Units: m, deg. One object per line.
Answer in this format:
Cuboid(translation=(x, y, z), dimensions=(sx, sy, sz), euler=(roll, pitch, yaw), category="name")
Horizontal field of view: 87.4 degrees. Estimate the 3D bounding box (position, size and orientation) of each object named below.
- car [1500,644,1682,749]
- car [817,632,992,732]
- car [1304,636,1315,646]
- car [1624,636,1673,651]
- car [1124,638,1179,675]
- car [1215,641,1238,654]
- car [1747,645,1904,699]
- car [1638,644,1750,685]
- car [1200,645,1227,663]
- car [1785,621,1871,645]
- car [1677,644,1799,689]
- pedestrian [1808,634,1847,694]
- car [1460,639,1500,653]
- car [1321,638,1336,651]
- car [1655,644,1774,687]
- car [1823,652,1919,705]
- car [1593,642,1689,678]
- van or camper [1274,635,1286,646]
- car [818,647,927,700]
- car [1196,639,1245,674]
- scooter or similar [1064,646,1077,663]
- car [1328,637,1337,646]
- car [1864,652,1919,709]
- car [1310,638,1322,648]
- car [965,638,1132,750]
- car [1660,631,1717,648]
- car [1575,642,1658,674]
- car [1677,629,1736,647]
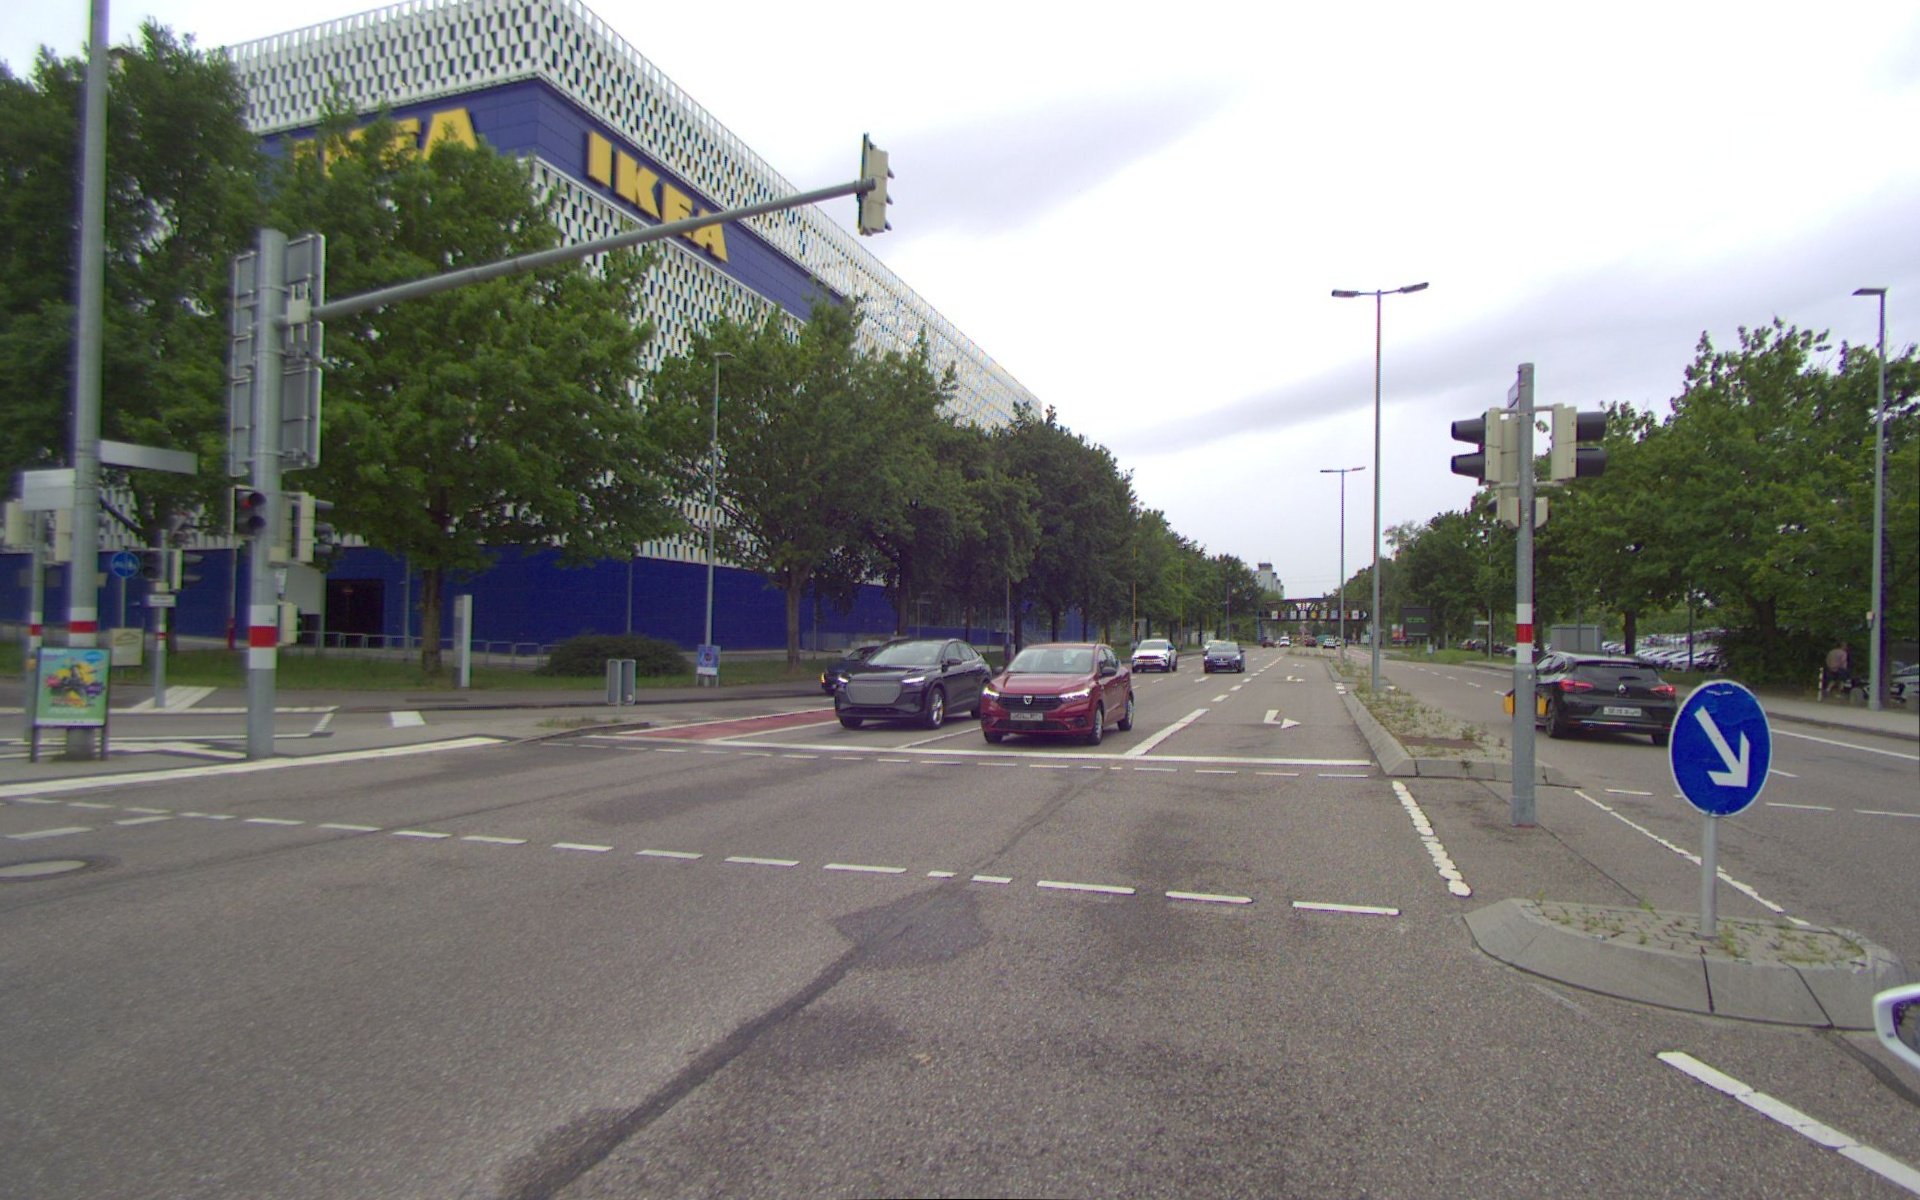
Cuboid(translation=(10.596, 1.536, 17.178), dimensions=(1.728, 1.453, 4.001), euler=(0, -1, 19), category="car")
Cuboid(translation=(-0.905, 1.497, 19.028), dimensions=(1.849, 1.658, 4.335), euler=(-2, -3, 18), category="car")
Cuboid(translation=(65.678, 7.739, 188.664), dimensions=(1.854, 1.684, 3.780), euler=(2, 0, 22), category="car")
Cuboid(translation=(74.816, 4.728, 109.229), dimensions=(4.017, 1.455, 1.730), euler=(2, 0, 19), category="car")
Cuboid(translation=(9.513, 2.746, 49.695), dimensions=(1.961, 1.615, 4.577), euler=(-3, -2, 19), category="car")
Cuboid(translation=(31.759, 5.641, 119.587), dimensions=(1.888, 1.521, 4.248), euler=(-2, -3, 26), category="car")
Cuboid(translation=(33.369, 2.738, 38.879), dimensions=(4.056, 1.412, 1.871), euler=(7, 2, 20), category="car")
Cuboid(translation=(37.479, 3.268, 51.401), dimensions=(4.114, 1.505, 1.976), euler=(6, 2, 21), category="car")
Cuboid(translation=(23.699, 5.029, 93.828), dimensions=(1.827, 1.481, 4.329), euler=(-1, -2, 23), category="car")
Cuboid(translation=(62.826, 2.350, 72.786), dimensions=(4.263, 1.516, 1.882), euler=(2, 0, 19), category="car")
Cuboid(translation=(35.909, 3.035, 46.480), dimensions=(3.997, 1.505, 1.819), euler=(6, 2, 20), category="car")
Cuboid(translation=(28.180, 2.063, 32.652), dimensions=(0.705, 1.896, 0.673), euler=(3, -1, 20), category="pedestrian")
Cuboid(translation=(59.341, 5.242, 114.710), dimensions=(3.925, 1.455, 1.728), euler=(2, 0, 27), category="car")
Cuboid(translation=(56.554, 6.833, 154.160), dimensions=(2.101, 1.684, 3.780), euler=(2, 0, 22), category="car")
Cuboid(translation=(36.693, 3.148, 48.967), dimensions=(4.127, 1.505, 1.959), euler=(6, 2, 20), category="car")
Cuboid(translation=(29.640, 2.486, 30.972), dimensions=(4.134, 1.439, 1.856), euler=(3, 0, 20), category="car")
Cuboid(translation=(41.343, 3.614, 61.119), dimensions=(4.322, 1.540, 2.000), euler=(7, 2, 21), category="car")
Cuboid(translation=(54.966, 6.935, 172.717), dimensions=(1.726, 1.770, 4.407), euler=(-3, -2, 20), category="van or camper")
Cuboid(translation=(-2.591, 2.202, 30.854), dimensions=(1.669, 1.507, 4.118), euler=(0, -3, 22), category="car")
Cuboid(translation=(12.366, 2.640, 47.521), dimensions=(1.826, 1.481, 4.332), euler=(-1, -2, 19), category="car")
Cuboid(translation=(8.103, 4.018, 73.874), dimensions=(0.644, 1.212, 1.378), euler=(2, -1, 17), category="scooter or similar")
Cuboid(translation=(85.264, 9.420, 229.820), dimensions=(1.918, 1.840, 3.999), euler=(2, 0, 22), category="car")
Cuboid(translation=(28.793, 2.413, 28.266), dimensions=(4.572, 1.491, 1.848), euler=(3, 0, 20), category="car")
Cuboid(translation=(68.735, 8.267, 194.027), dimensions=(1.918, 1.840, 3.999), euler=(2, 0, 22), category="car")
Cuboid(translation=(1.526, 1.387, 15.759), dimensions=(1.706, 1.507, 4.080), euler=(-1, -3, 18), category="car")
Cuboid(translation=(70.848, 3.847, 97.692), dimensions=(4.129, 1.455, 1.730), euler=(2, 0, 19), category="car")
Cuboid(translation=(42.960, 3.757, 65.837), dimensions=(4.109, 1.465, 1.959), euler=(7, 2, 21), category="car")
Cuboid(translation=(68.990, 3.459, 92.865), dimensions=(4.017, 1.455, 1.730), euler=(2, 0, 19), category="car")
